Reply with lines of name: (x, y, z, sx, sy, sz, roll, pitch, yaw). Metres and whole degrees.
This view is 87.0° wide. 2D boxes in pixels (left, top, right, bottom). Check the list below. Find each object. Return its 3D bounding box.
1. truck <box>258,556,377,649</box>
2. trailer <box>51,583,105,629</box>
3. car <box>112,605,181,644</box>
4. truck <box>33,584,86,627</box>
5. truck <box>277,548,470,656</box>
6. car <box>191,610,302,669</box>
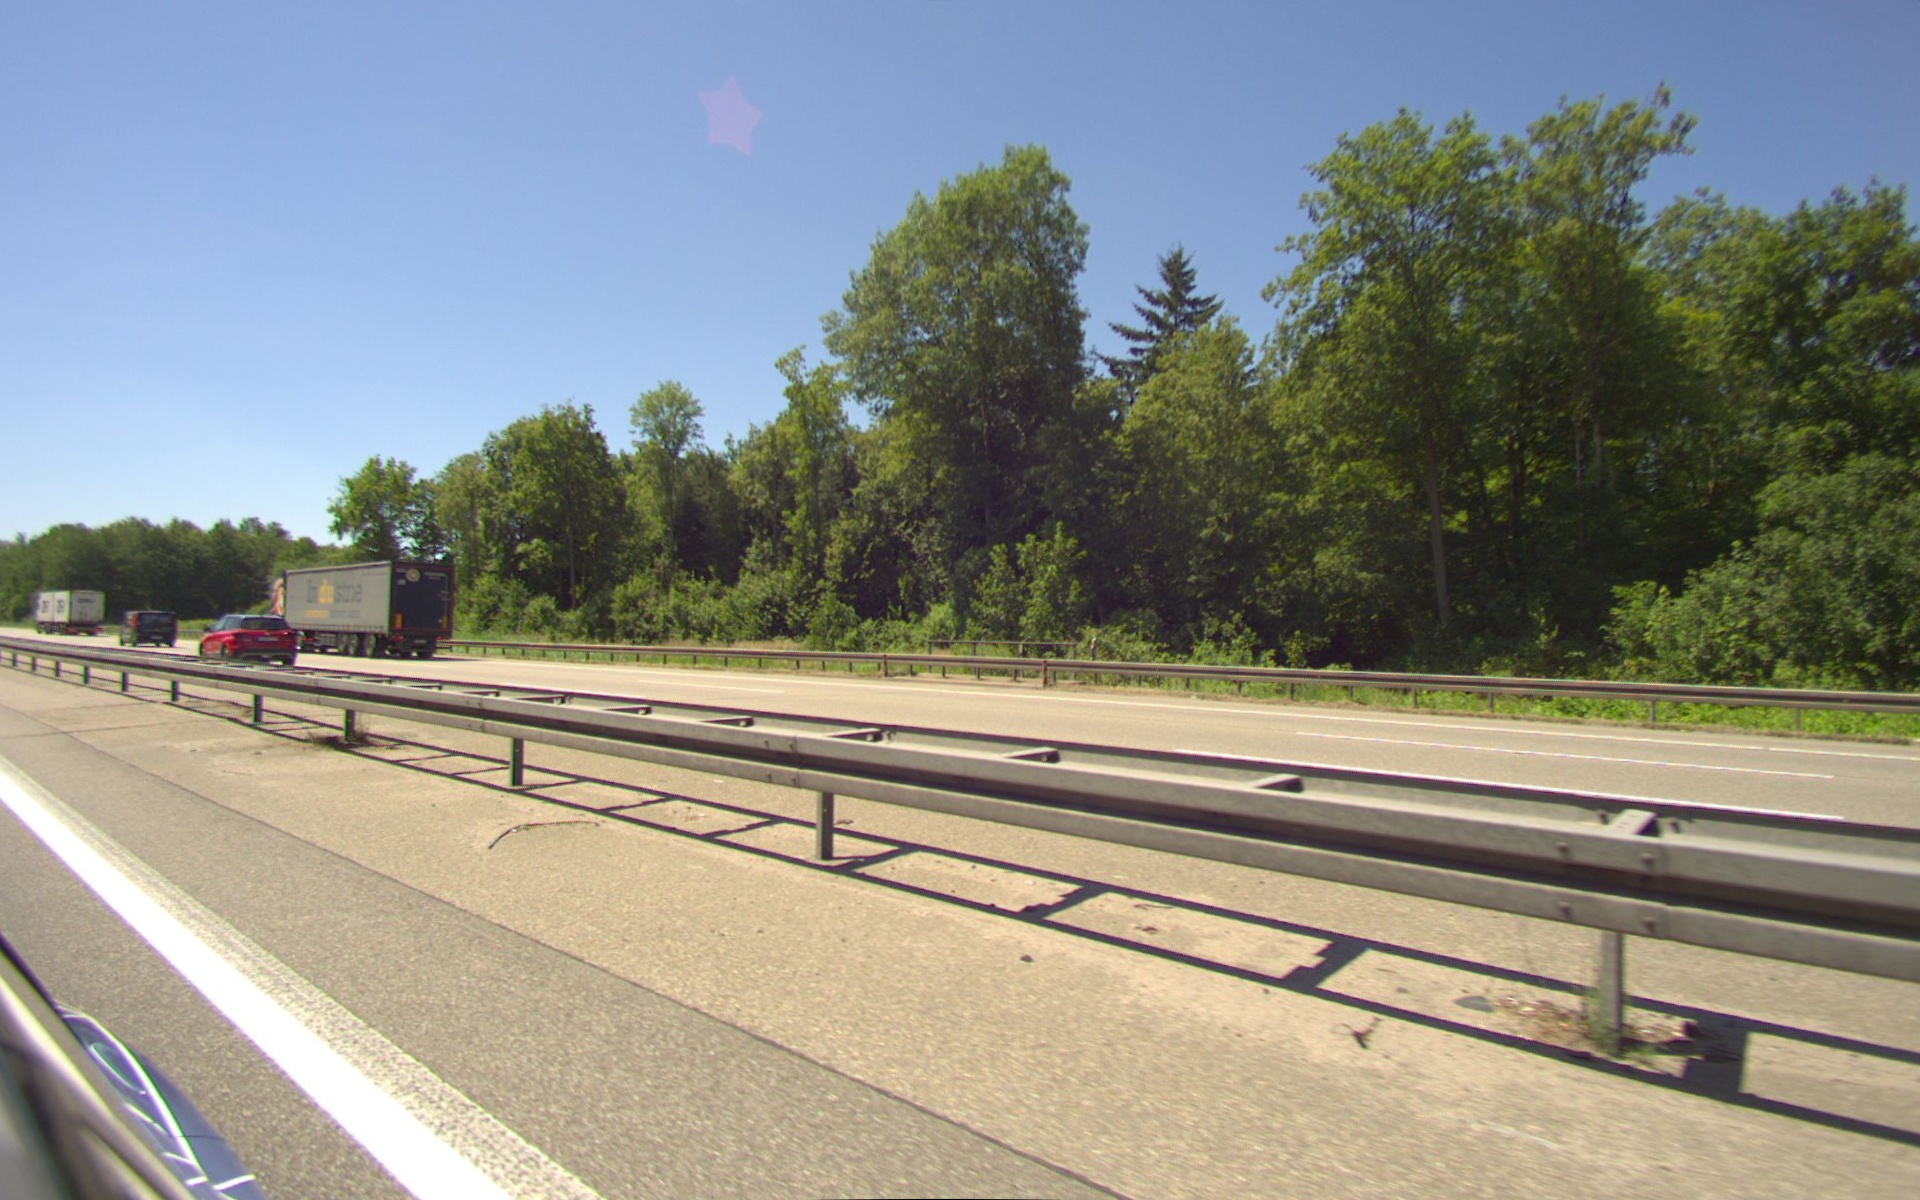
truck: (-32.440, 0.092, 51.033, 6.609, 4.374, 3.289, 0, 1, 41)
trailer: (-81.593, 0.545, 93.560, 8.554, 4.019, 2.552, 0, 1, 41)
car: (-44.961, 1.328, 55.894, 5.356, 2.029, 1.973, 0, -3, 41)
truck: (-88.796, 0.532, 99.694, 10.332, 4.038, 2.554, 0, 1, 41)
truck: (-27.281, 0.071, 46.563, 13.902, 4.374, 3.289, 0, 1, 41)
car: (-21.436, 1.115, 30.326, 4.643, 1.597, 1.713, 0, 1, 42)
